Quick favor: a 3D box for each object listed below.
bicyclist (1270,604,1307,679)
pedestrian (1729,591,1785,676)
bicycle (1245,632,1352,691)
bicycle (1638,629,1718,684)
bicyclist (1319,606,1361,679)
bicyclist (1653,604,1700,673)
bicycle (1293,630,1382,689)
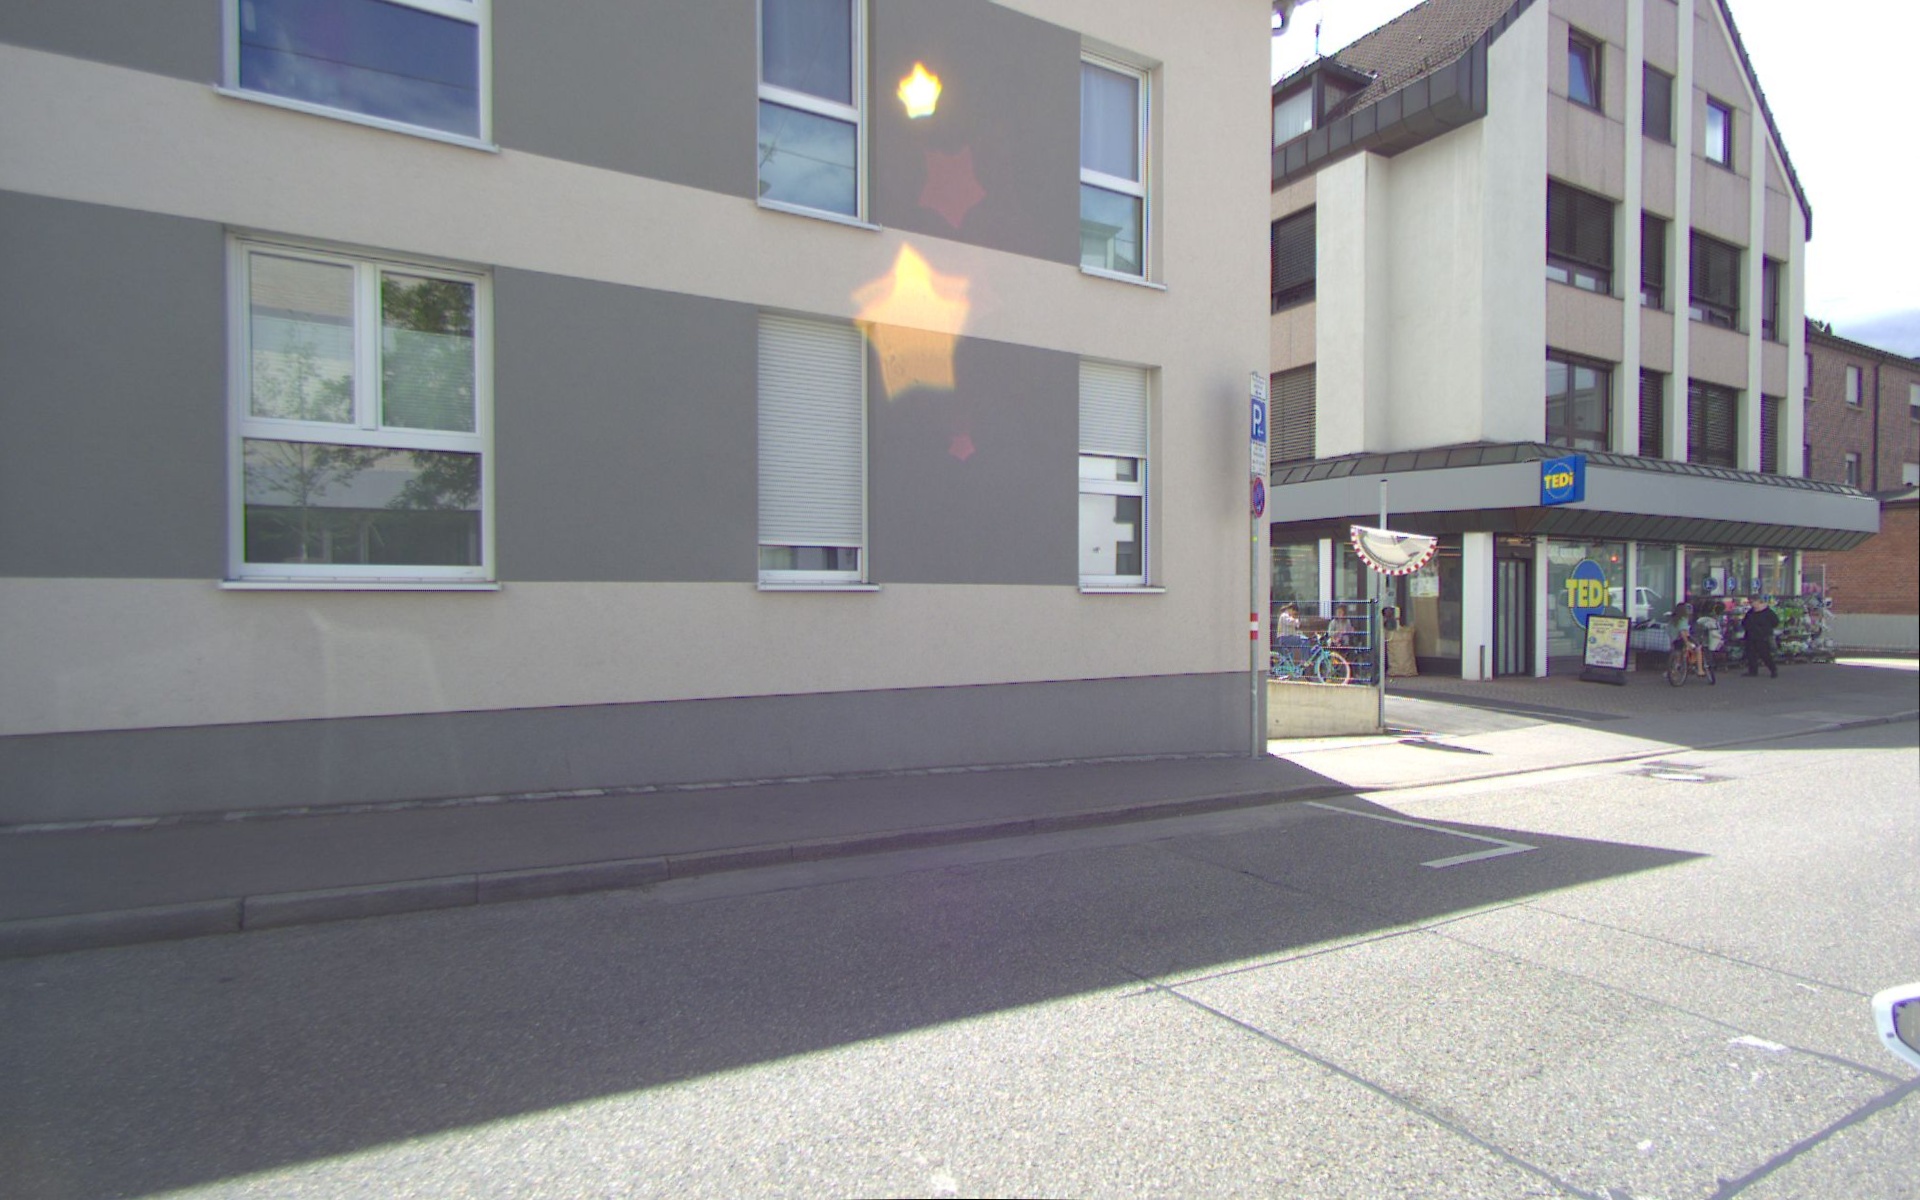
[{"bbox_3d":[5.359,0.665,16.397,0.489,1.197,0.397,1,0,11],"label":"bicyclist"},{"bbox_3d":[15.394,0.641,19.416,0.554,1.624,0.626,2,0,-22],"label":"pedestrian"},{"bbox_3d":[5.505,0.988,16.365,1.619,0.908,0.303,1,0,10],"label":"bicycle"},{"bbox_3d":[12.718,0.979,17.774,1.756,0.873,0.465,0,2,-30],"label":"bicycle"},{"bbox_3d":[6.345,0.700,16.769,0.392,1.197,0.495,1,1,-30],"label":"bicyclist"},{"bbox_3d":[12.626,0.674,17.696,0.617,1.194,0.455,1,-1,-30],"label":"bicyclist"},{"bbox_3d":[6.292,0.967,16.815,0.299,0.908,1.543,1,-1,-31],"label":"bicycle"}]
